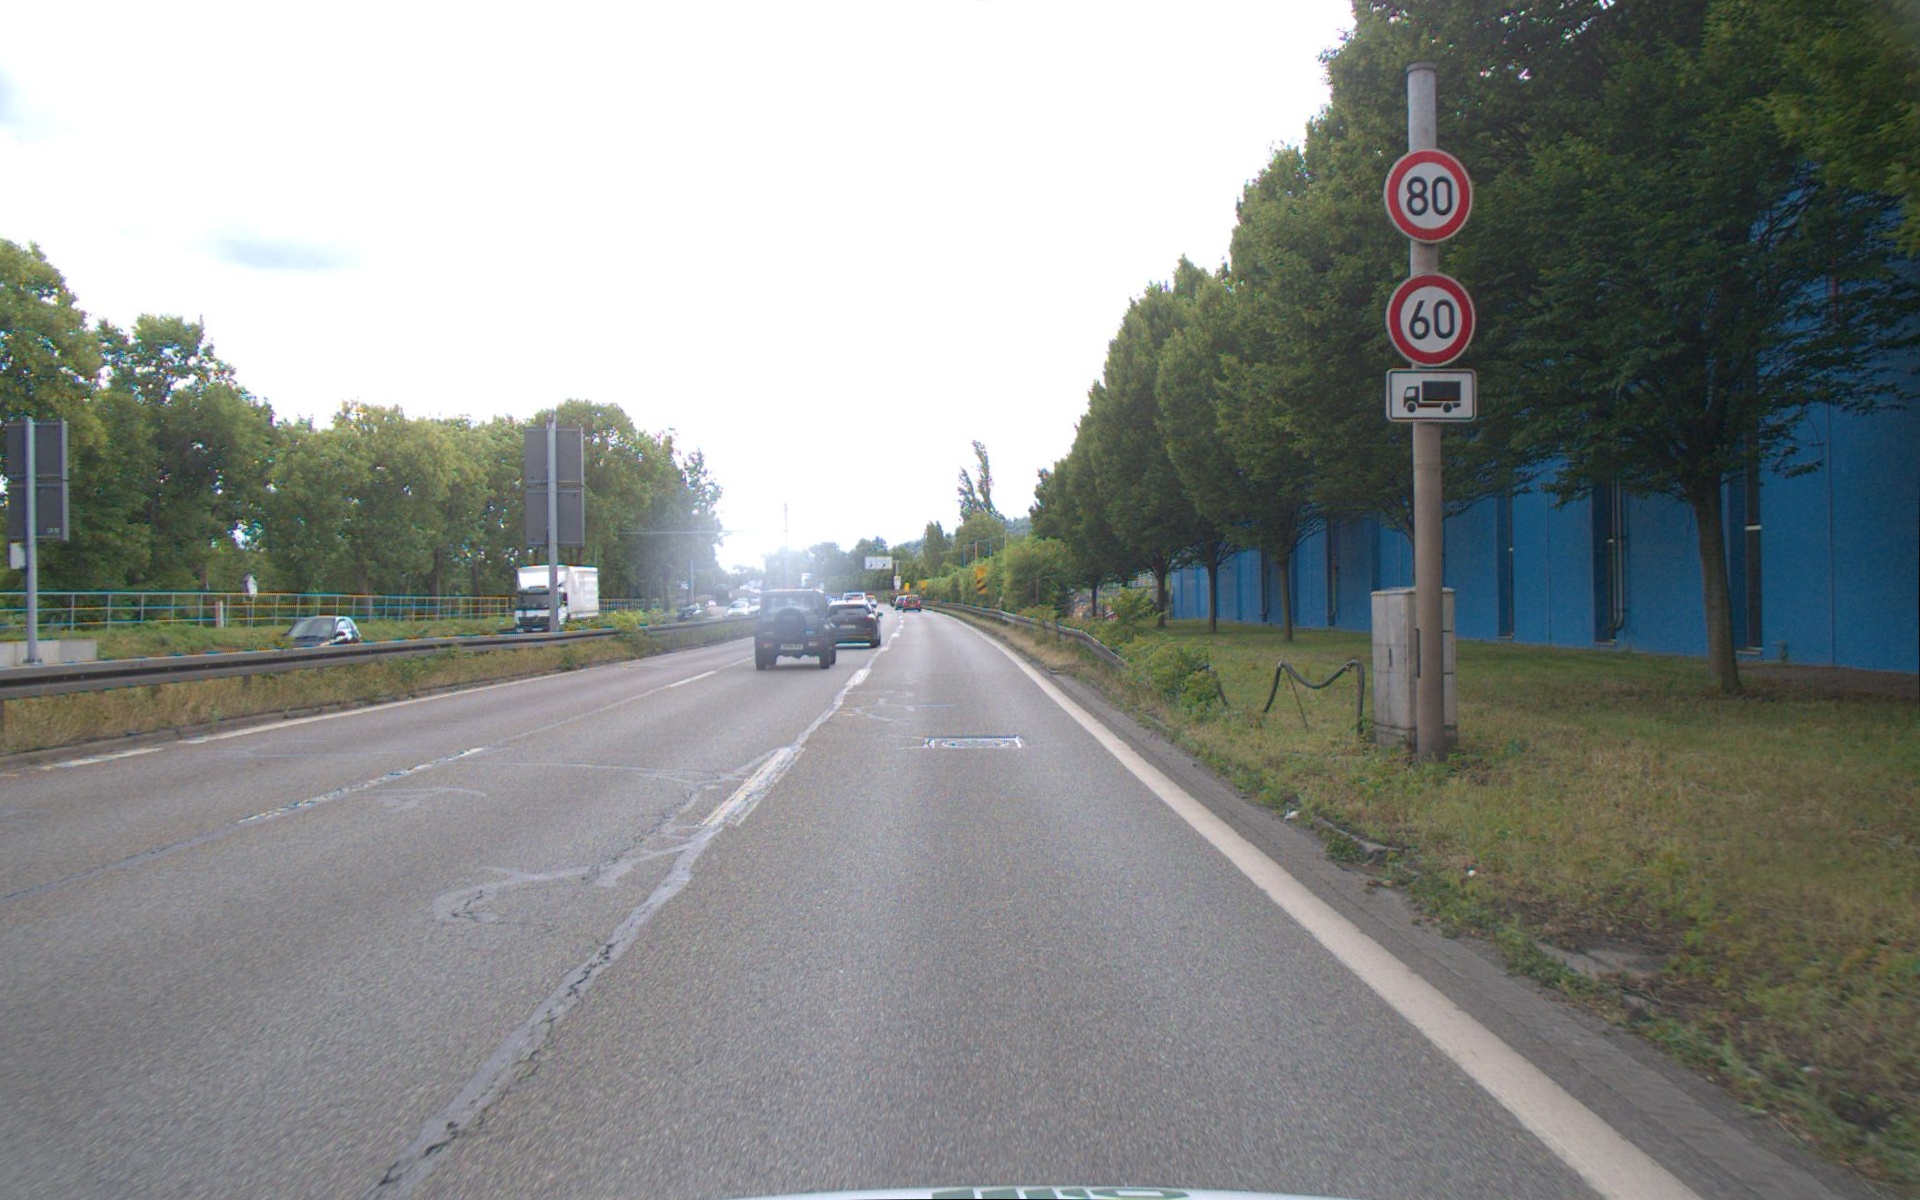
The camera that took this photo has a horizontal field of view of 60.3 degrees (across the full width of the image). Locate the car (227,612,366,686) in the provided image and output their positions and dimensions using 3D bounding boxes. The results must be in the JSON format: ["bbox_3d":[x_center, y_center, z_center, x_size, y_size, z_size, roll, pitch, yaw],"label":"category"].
[{"bbox_3d":[-17.142,1.219,42.928,1.840,1.755,4.147,-1,0,1],"label":"car"}]

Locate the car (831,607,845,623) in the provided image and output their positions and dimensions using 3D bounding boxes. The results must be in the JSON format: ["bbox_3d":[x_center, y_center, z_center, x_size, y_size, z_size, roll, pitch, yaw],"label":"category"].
[{"bbox_3d":[-14.927,1.844,201.976,1.664,1.772,4.389,-2,0,-4],"label":"car"}]

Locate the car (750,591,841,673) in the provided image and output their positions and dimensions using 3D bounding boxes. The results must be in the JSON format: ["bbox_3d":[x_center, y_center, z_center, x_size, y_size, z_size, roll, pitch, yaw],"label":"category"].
[{"bbox_3d":[-3.605,0.668,36.879,1.663,1.715,3.999,-1,0,-1],"label":"car"}]

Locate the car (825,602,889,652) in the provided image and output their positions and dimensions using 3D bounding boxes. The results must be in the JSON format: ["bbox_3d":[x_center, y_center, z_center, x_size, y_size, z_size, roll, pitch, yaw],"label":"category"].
[{"bbox_3d":[-3.141,0.821,51.303,1.808,1.448,4.898,-1,0,-2],"label":"car"}]

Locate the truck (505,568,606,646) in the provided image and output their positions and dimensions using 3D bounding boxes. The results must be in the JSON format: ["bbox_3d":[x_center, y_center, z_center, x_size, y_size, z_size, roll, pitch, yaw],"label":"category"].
[{"bbox_3d":[-20.433,0.383,84.218,2.830,3.641,9.585,-2,-1,-1],"label":"truck"}]

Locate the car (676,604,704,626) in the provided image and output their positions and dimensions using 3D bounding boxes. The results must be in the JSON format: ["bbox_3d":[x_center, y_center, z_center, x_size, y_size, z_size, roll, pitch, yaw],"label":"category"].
[{"bbox_3d":[-22.336,1.231,136.904,1.691,1.633,4.041,-3,0,-1],"label":"car"}]

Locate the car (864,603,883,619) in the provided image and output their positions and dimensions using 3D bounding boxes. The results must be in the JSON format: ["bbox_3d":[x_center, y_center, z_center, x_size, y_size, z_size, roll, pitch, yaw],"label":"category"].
[{"bbox_3d":[-10.985,1.428,210.330,1.976,1.968,4.891,-2,0,-8],"label":"car"}]

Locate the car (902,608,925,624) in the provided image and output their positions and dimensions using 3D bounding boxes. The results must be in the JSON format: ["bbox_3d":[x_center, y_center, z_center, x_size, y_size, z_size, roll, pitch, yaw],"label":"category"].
[{"bbox_3d":[-4.369,1.487,155.236,1.936,1.448,4.896,-2,0,-4],"label":"car"}]

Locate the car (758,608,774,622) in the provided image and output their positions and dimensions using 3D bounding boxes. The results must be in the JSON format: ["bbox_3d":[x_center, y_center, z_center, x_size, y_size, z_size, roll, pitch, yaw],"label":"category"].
[{"bbox_3d":[-25.708,1.999,219.059,1.691,1.806,3.740,-2,0,-1],"label":"car"}]

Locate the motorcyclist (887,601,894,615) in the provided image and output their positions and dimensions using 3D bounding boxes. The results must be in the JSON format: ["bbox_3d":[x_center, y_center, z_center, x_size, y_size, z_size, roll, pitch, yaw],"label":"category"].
[{"bbox_3d":[-8.619,0.996,205.505,0.775,1.791,0.922,-1,0,-3],"label":"motorcyclist"}]

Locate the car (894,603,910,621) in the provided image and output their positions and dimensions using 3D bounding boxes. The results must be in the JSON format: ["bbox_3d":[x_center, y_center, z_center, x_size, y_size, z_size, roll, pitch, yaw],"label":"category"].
[{"bbox_3d":[-6.157,1.287,176.624,1.663,1.772,4.391,-1,0,-2],"label":"car"}]

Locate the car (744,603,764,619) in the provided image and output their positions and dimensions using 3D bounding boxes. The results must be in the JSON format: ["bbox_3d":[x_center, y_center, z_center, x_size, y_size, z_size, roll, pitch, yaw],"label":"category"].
[{"bbox_3d":[-22.932,1.182,184.203,1.829,1.704,4.717,-2,0,-2],"label":"car"}]

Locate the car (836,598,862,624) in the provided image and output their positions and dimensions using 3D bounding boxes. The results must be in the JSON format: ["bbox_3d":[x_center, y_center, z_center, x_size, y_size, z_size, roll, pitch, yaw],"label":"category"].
[{"bbox_3d":[-7.957,0.782,118.573,1.663,1.772,3.998,-1,0,-2],"label":"car"}]

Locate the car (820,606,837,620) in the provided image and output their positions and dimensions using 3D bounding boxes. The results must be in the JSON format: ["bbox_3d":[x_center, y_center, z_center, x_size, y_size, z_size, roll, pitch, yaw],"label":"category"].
[{"bbox_3d":[-19.529,1.918,245.821,1.978,1.968,4.886,-2,0,-11],"label":"car"}]

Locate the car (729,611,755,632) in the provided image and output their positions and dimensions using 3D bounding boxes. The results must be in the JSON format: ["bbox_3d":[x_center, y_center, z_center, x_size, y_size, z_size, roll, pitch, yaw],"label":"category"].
[{"bbox_3d":[-18.778,1.813,142.560,1.663,1.633,4.537,-3,0,-1],"label":"car"}]
